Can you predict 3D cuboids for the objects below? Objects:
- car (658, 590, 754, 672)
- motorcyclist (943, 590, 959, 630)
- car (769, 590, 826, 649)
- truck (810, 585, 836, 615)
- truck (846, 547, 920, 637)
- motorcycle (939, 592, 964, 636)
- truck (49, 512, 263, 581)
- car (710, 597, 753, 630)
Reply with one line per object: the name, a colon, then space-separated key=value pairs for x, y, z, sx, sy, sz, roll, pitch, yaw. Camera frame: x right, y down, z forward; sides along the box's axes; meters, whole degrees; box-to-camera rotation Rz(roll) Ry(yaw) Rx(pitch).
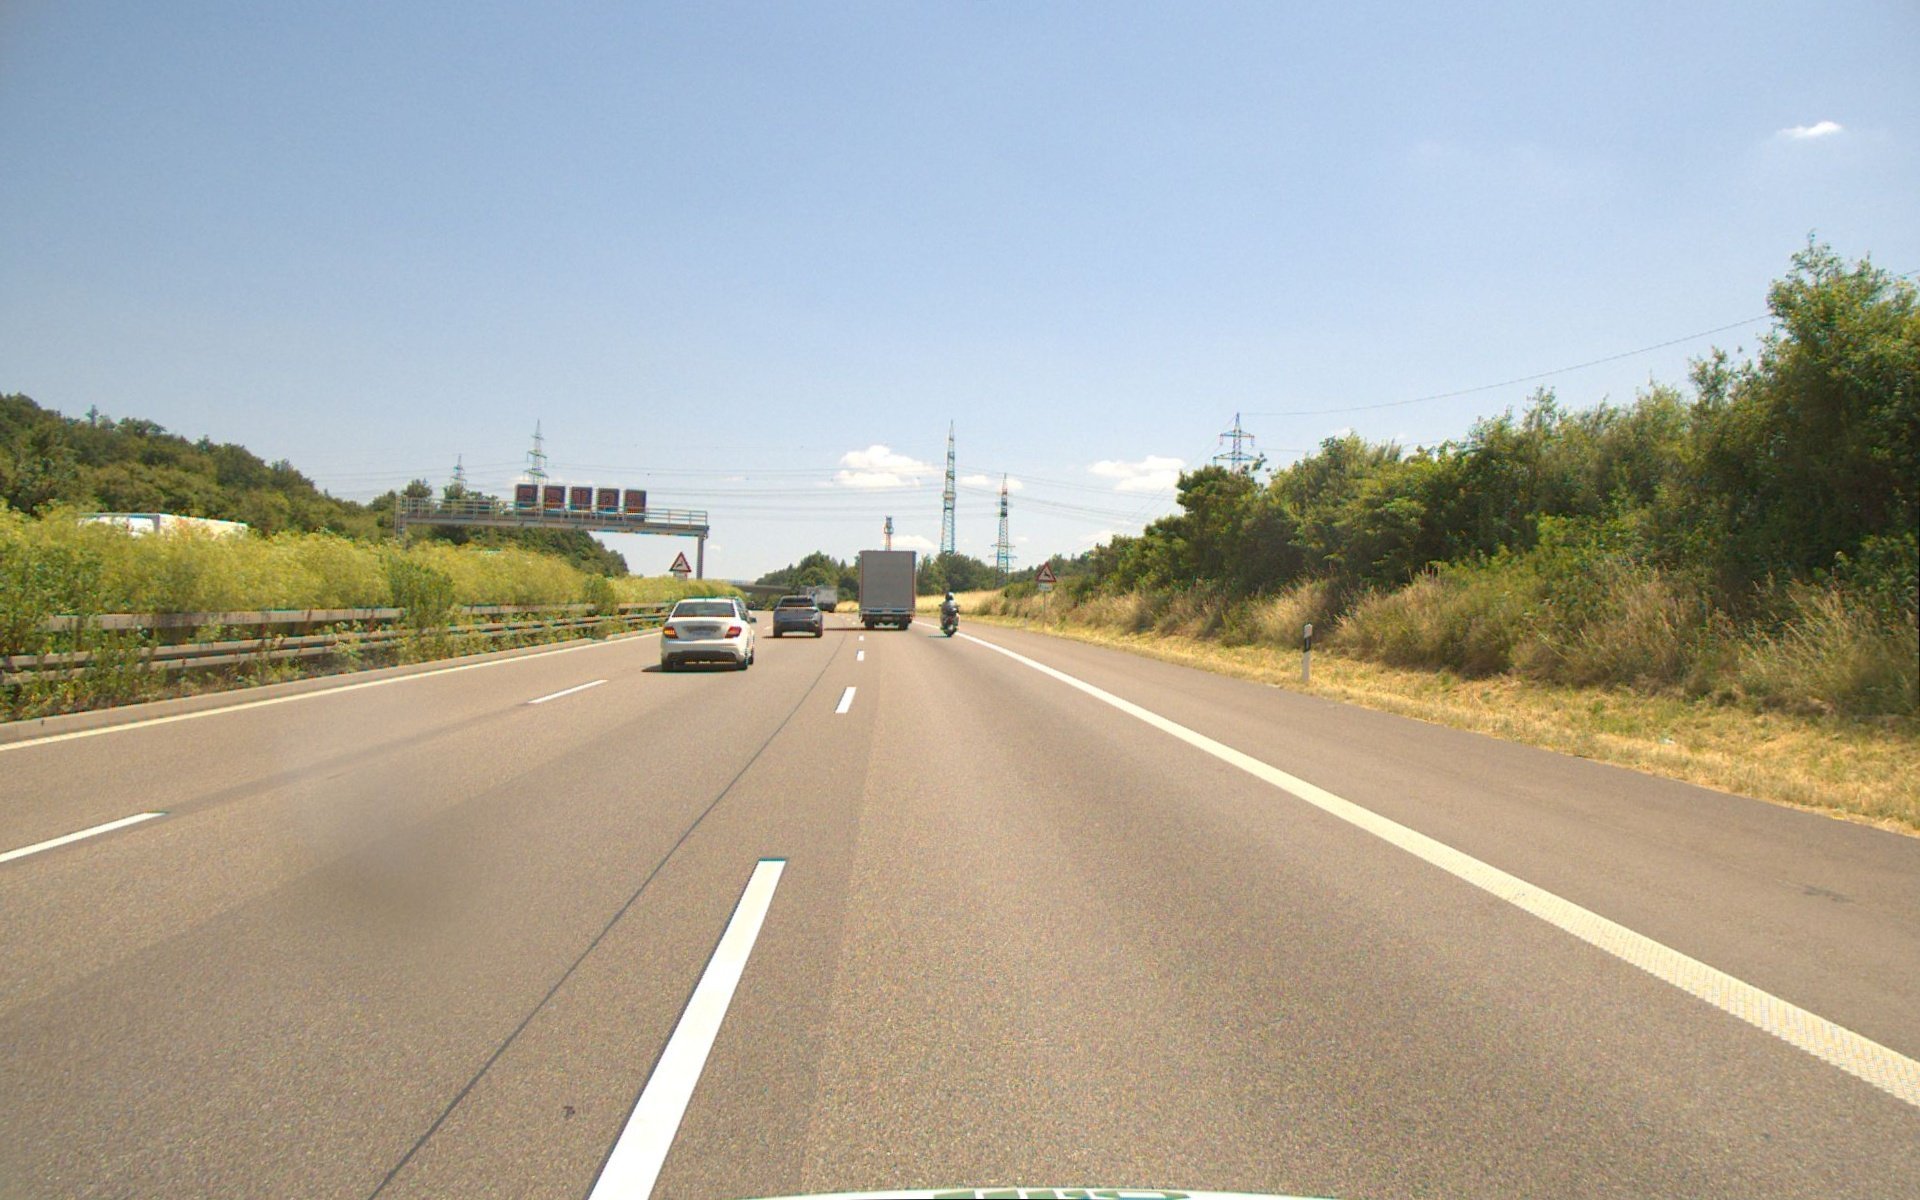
car: x=-5.211 y=0.586 z=34.308 sx=1.785 sy=1.567 sz=3.909 roll=0 pitch=1 yaw=-6
motorcyclist: x=-0.337 y=0.376 z=62.522 sx=0.561 sy=1.505 sz=0.700 roll=0 pitch=0 yaw=-5
car: x=-5.954 y=0.683 z=61.029 sx=1.954 sy=2.049 sz=3.997 roll=0 pitch=1 yaw=-4
truck: x=-18.775 y=0.045 z=226.206 sx=3.416 sy=3.981 sz=7.281 roll=0 pitch=0 yaw=-5
truck: x=-3.727 y=-0.341 z=77.926 sx=3.158 sy=3.993 sz=9.052 roll=0 pitch=0 yaw=-5
motorcycle: x=-0.336 y=0.512 z=62.485 sx=0.794 sy=1.635 sz=1.780 roll=0 pitch=0 yaw=-5
truck: x=-25.936 y=-1.641 z=54.038 sx=2.600 sy=2.049 sz=9.852 roll=0 pitch=1 yaw=-3
car: x=-10.485 y=0.604 z=76.018 sx=1.722 sy=1.454 sz=3.996 roll=0 pitch=1 yaw=-5
